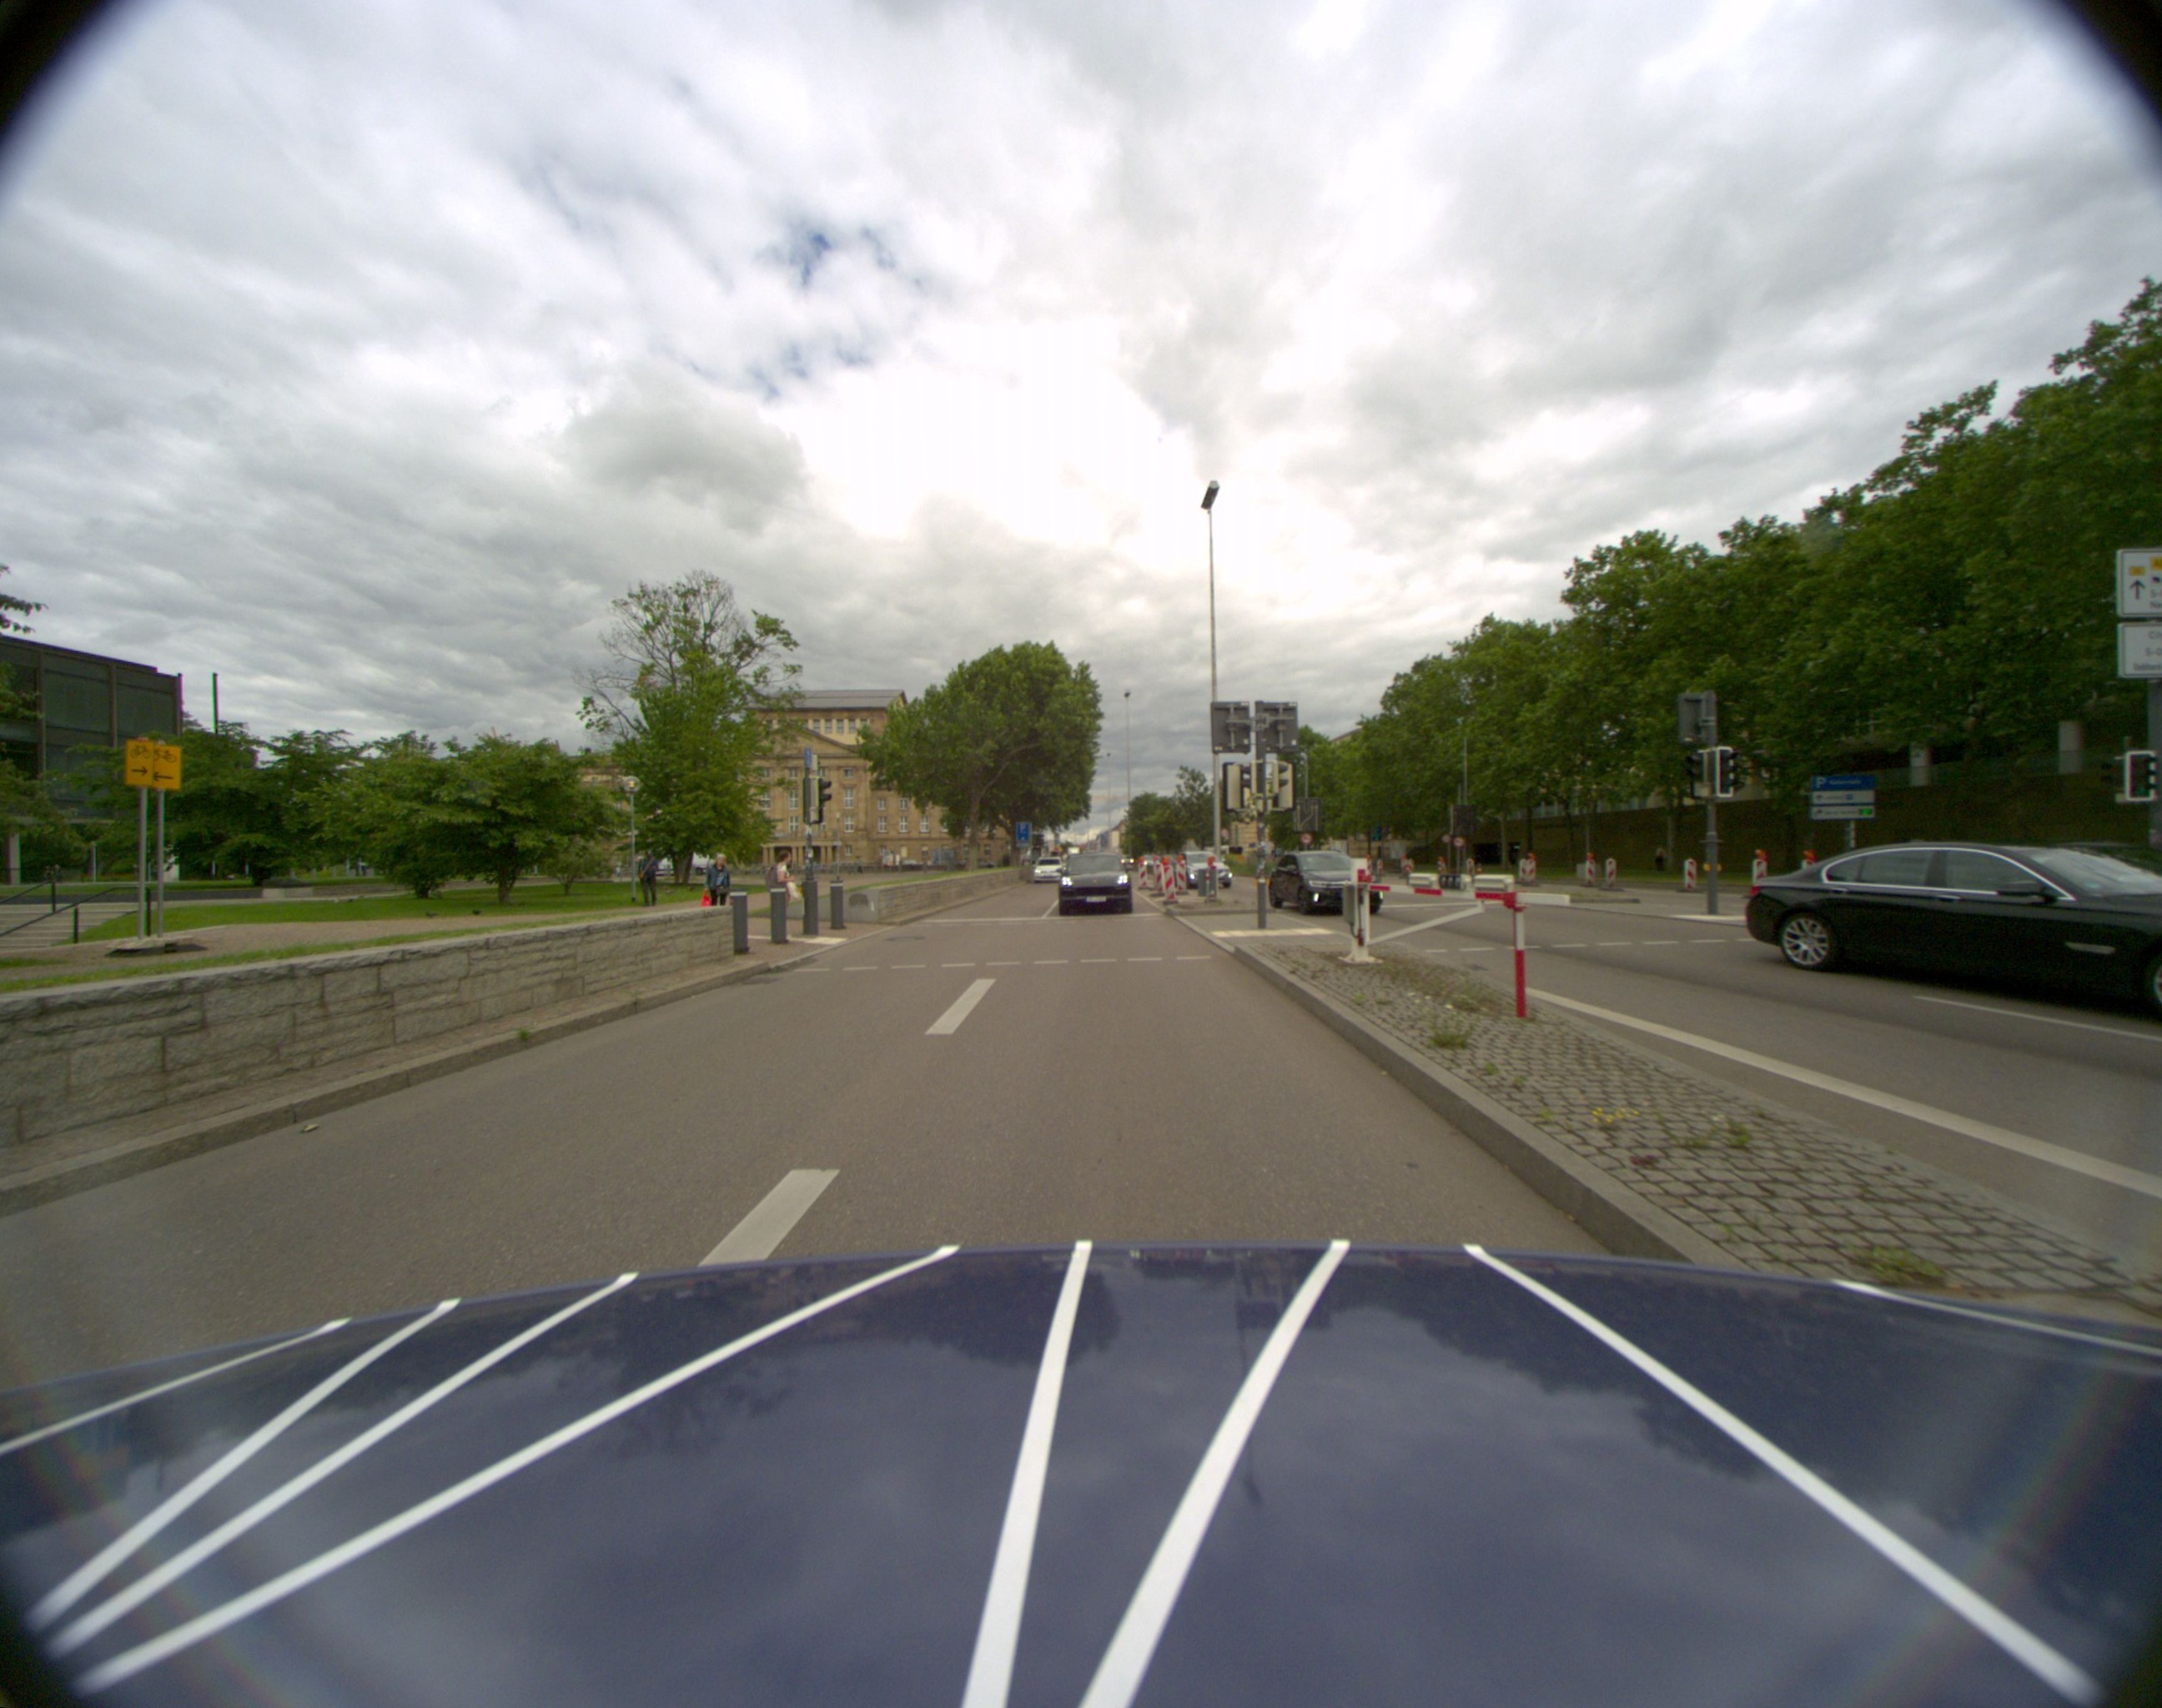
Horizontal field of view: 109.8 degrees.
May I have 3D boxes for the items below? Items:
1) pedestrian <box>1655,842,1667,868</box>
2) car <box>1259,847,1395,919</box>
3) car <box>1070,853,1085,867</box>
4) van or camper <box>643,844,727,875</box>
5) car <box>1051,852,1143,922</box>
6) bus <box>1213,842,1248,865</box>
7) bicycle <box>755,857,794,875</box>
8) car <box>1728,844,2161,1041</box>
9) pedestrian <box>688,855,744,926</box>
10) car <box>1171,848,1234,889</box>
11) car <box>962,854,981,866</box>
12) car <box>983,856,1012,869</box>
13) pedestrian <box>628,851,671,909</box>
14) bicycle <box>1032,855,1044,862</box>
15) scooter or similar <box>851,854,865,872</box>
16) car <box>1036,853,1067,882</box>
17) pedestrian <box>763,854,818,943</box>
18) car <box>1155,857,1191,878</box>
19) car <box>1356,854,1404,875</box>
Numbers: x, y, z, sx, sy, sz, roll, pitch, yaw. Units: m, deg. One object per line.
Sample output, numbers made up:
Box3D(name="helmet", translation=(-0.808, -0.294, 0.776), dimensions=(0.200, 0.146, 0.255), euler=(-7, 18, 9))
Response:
Box3D(name="pedestrian", translation=(36.077, 0.040, 47.273), dimensions=(0.355, 1.598, 0.443), euler=(-4, 2, -7))
Box3D(name="car", translation=(6.002, 0.628, 19.078), dimensions=(1.768, 1.507, 4.150), euler=(-2, 1, -4))
Box3D(name="car", translation=(-0.452, 0.776, 100.804), dimensions=(1.733, 1.587, 3.999), euler=(-3, 1, 1))
Box3D(name="van or camper", translation=(-33.056, 0.400, 63.523), dimensions=(5.712, 2.307, 2.319), euler=(-2, 2, -1))
Box3D(name="car", translation=(0.308, 0.804, 20.751), dimensions=(2.062, 1.616, 4.600), euler=(-2, 0, -4))
Box3D(name="bus", translation=(22.491, -0.118, 115.056), dimensions=(2.920, 3.286, 10.447), euler=(-1, 0, -2))
Box3D(name="bicycle", translation=(-19.546, 0.782, 48.531), dimensions=(2.197, 1.135, 0.685), euler=(-1, 0, 0))
Box3D(name="car", translation=(9.216, 0.669, 7.219), dimensions=(1.999, 1.474, 4.809), euler=(-1, 0, -1))
Box3D(name="pedestrian", translation=(-8.384, 0.804, 17.460), dimensions=(0.683, 1.553, 0.909), euler=(3, 1, 17))
Box3D(name="car", translation=(5.402, 0.592, 34.431), dimensions=(1.999, 1.607, 4.737), euler=(-1, 1, -1))
Box3D(name="car", translation=(-13.771, 0.776, 95.902), dimensions=(1.768, 1.508, 4.218), euler=(-1, -1, 1))
Box3D(name="car", translation=(-11.962, 1.167, 108.592), dimensions=(3.999, 1.587, 1.733), euler=(-3, 1, -5))
Box3D(name="pedestrian", translation=(-12.228, 0.726, 21.542), dimensions=(0.803, 1.617, 0.626), euler=(-1, 0, 7))
Box3D(name="bicycle", translation=(-7.170, 0.750, 127.581), dimensions=(1.919, 1.092, 0.541), euler=(-1, 1, -9))
Box3D(name="scooter or similar", translation=(-15.986, 0.617, 54.418), dimensions=(0.718, 1.239, 0.728), euler=(4, 1, -2))
Box3D(name="car", translation=(-1.822, 0.815, 48.049), dimensions=(1.696, 1.585, 3.999), euler=(-3, 1, 1))
Box3D(name="pedestrian", translation=(-5.650, 0.854, 14.813), dimensions=(0.699, 1.646, 0.683), euler=(-3, 1, -1))
Box3D(name="car", translation=(6.926, 1.002, 57.839), dimensions=(1.999, 1.474, 4.808), euler=(-1, 0, -2))
Box3D(name="car", translation=(20.480, 0.679, 52.137), dimensions=(1.730, 1.364, 4.000), euler=(-1, 0, 0))
